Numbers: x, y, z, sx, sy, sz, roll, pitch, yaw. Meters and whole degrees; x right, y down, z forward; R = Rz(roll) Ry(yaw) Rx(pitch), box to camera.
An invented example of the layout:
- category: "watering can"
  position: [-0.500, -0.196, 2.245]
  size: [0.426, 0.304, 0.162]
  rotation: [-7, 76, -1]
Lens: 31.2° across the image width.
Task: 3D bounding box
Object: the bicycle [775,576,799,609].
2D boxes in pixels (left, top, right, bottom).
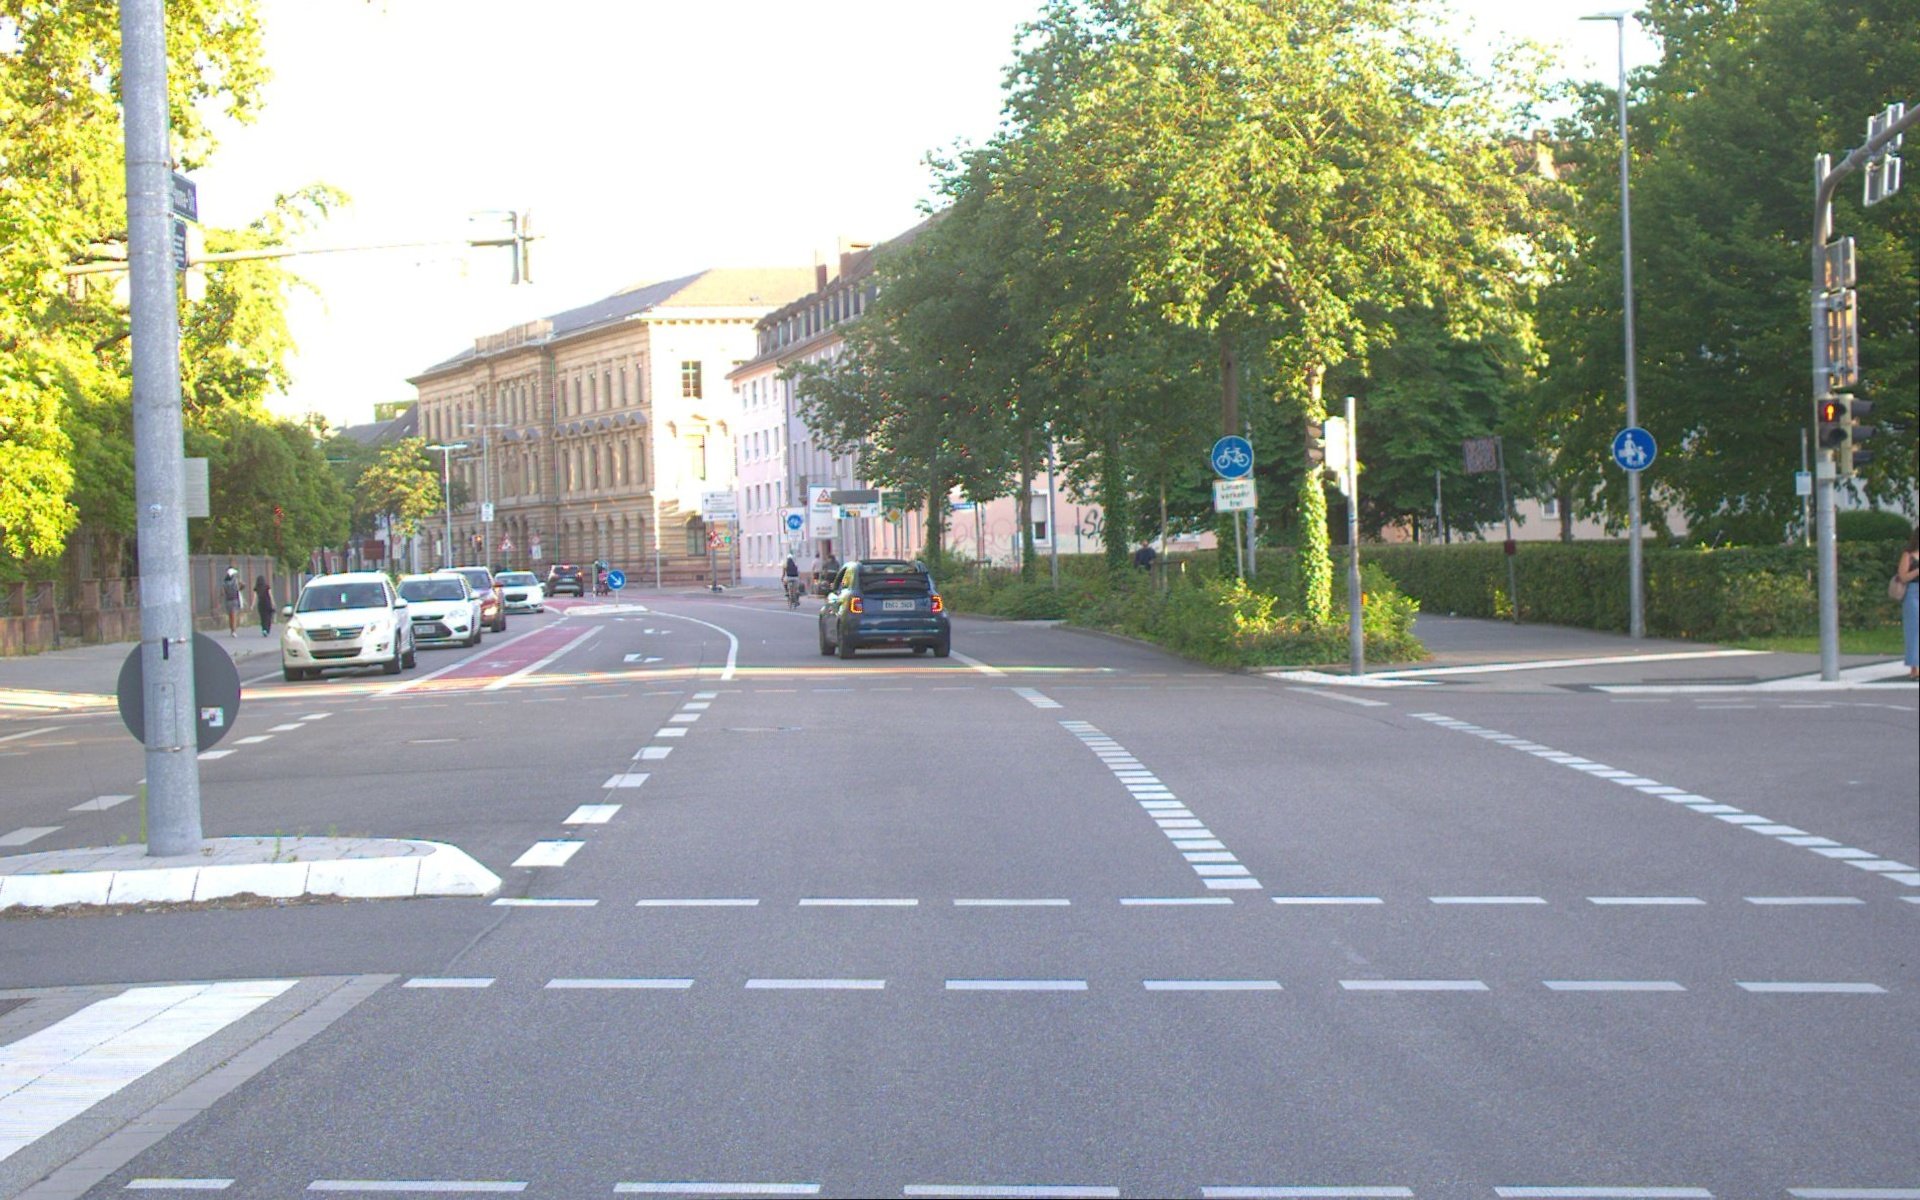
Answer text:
- category: "bicycle"
  position: [-5.364, -0.234, 106.505]
  size: [0.652, 1.012, 2.198]
  rotation: [1, 1, -5]

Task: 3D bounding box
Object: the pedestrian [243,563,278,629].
- category: "pedestrian"
  position: [-17.582, -0.100, 86.403]
  size: [0.681, 1.617, 0.688]
  rotation: [-2, 1, -1]

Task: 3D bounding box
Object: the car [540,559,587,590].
- category: "car"
  position: [-19.617, -1.273, 170.039]
  size: [1.916, 1.413, 4.771]
  rotation: [-4, 1, -10]

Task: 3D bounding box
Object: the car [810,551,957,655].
- category: "car"
  position: [-1.226, 0.018, 53.309]
  size: [1.867, 1.504, 4.001]
  rotation: [-2, 1, -7]

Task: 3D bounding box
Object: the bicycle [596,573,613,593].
- category: "bicycle"
  position: [-17.948, -0.865, 173.492]
  size: [0.652, 1.012, 2.198]
  rotation: [1, 1, -10]

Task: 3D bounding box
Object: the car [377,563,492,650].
- category: "car"
  position: [-10.733, 0.103, 70.436]
  size: [1.916, 1.578, 4.675]
  rotation: [-3, 1, -5]

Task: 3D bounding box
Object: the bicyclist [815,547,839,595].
- category: "bicyclist"
  position: [-4.137, -0.906, 106.927]
  size: [0.652, 1.470, 0.941]
  rotation: [1, 0, -6]

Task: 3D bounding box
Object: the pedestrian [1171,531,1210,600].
- category: "pedestrian"
  position: [5.904, -0.878, 88.022]
  size: [0.769, 1.733, 0.807]
  rotation: [-2, 1, -10]

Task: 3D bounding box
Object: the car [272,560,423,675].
- category: "car"
  position: [-9.948, 0.247, 56.106]
  size: [1.916, 1.690, 4.427]
  rotation: [-3, 1, -5]

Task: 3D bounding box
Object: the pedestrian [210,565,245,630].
- category: "pedestrian"
  position: [-18.403, -0.065, 86.378]
  size: [0.681, 1.617, 0.688]
  rotation: [-2, 1, -1]

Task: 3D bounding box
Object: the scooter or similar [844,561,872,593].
- category: "scooter or similar"
  position: [-4.324, -0.987, 145.347]
  size: [0.629, 1.332, 2.401]
  rotation: [-1, 1, -14]

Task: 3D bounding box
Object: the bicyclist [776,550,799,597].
- category: "bicyclist"
  position: [-5.348, -0.808, 106.473]
  size: [0.652, 1.441, 0.879]
  rotation: [1, 0, -5]

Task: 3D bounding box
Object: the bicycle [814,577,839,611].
- category: "bicycle"
  position: [-4.138, -0.187, 106.782]
  size: [0.652, 1.012, 2.198]
  rotation: [1, 1, -5]

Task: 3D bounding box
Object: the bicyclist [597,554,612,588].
- category: "bicyclist"
  position: [-17.944, -1.450, 173.508]
  size: [0.652, 1.692, 0.957]
  rotation: [1, 0, -10]

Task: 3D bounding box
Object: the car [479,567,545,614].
- category: "car"
  position: [-15.036, -0.349, 115.543]
  size: [1.916, 1.413, 4.771]
  rotation: [-3, 1, -5]

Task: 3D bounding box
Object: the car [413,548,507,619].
- category: "car"
  position: [-12.388, -0.430, 85.372]
  size: [1.916, 1.619, 4.640]
  rotation: [-3, 1, -5]

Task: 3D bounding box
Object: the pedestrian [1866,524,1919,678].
- category: "pedestrian"
  position: [10.186, -0.002, 36.868]
  size: [0.681, 1.616, 0.845]
  rotation: [-2, 1, -1]
